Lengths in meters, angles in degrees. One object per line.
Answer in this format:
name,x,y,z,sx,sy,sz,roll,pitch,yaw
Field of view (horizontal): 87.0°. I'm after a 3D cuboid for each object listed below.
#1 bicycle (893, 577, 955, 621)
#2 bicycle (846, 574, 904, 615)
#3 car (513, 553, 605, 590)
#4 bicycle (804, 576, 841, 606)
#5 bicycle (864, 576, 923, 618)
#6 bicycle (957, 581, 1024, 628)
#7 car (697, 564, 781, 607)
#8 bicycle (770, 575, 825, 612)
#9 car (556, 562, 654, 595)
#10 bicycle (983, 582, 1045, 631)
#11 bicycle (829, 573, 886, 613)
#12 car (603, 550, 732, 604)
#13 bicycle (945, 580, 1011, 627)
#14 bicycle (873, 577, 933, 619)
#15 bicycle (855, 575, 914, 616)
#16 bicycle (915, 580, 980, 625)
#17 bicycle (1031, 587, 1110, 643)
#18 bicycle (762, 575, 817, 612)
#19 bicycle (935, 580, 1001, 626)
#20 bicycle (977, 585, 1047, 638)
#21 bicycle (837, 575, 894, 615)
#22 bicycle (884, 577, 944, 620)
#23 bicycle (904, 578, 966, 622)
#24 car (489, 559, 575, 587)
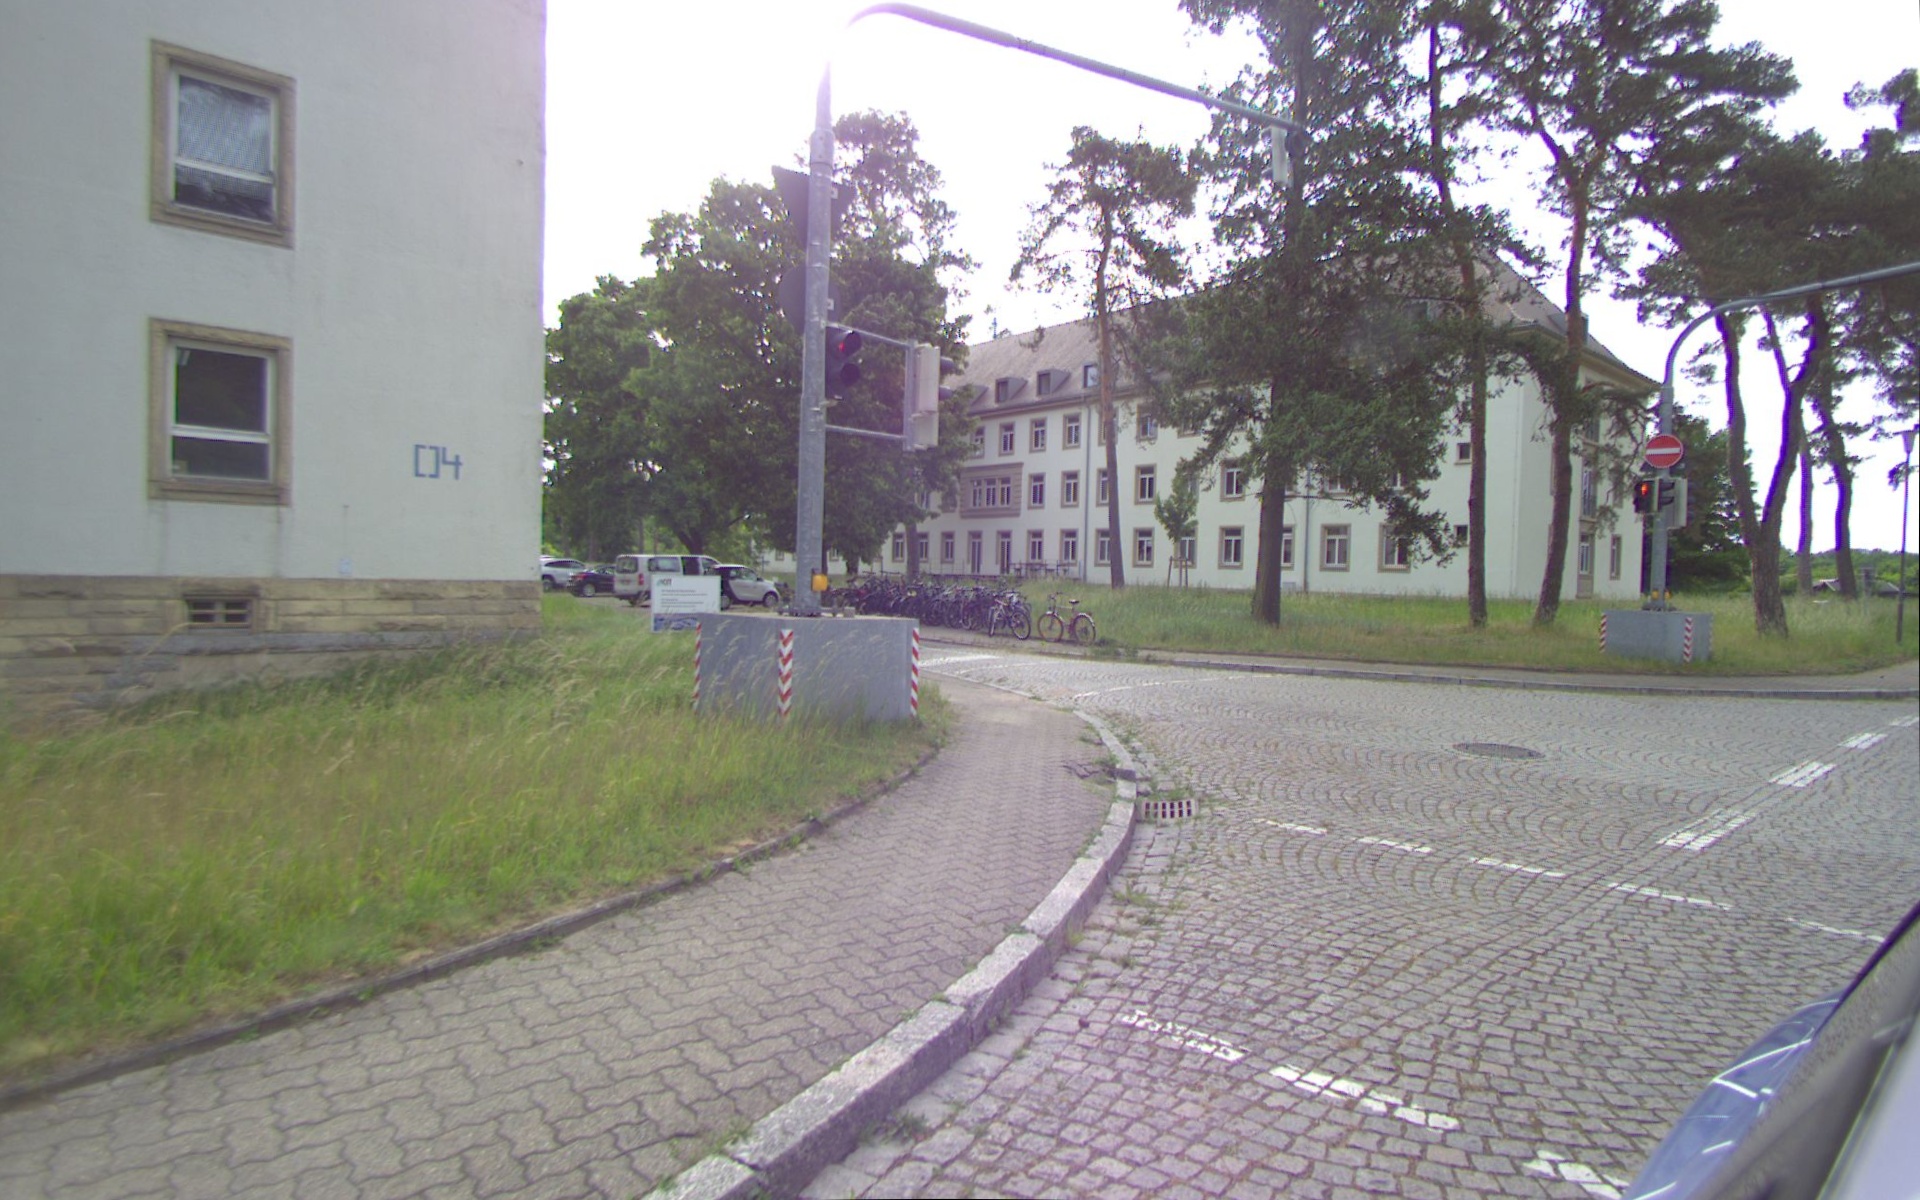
bicycle,-0.964,-0.028,27.405,1.699,1.141,0.448,0,1,-38
bicycle,-2.455,-0.157,29.355,1.699,1.141,0.448,0,1,-38
car,-19.426,-1.371,49.142,1.674,1.681,3.837,2,2,44
bicycle,-5.322,-0.358,39.267,0.475,1.141,1.580,2,2,34
bicycle,-1.873,-0.085,28.612,1.699,1.141,0.448,0,1,-38
bicycle,0.759,0.114,25.168,1.669,1.141,0.477,0,1,-32
car,-7.871,-0.525,36.098,2.615,1.488,1.344,0,2,-41
bicycle,-5.088,-0.201,31.786,1.699,1.141,0.448,0,1,-38
car,-15.786,-0.938,45.074,1.809,1.379,3.716,2,2,44
bicycle,1.330,0.150,24.840,1.628,1.141,0.476,0,2,-42
bicycle,-3.044,-0.202,30.086,1.699,1.141,0.448,0,1,-38
car,-10.876,-0.866,37.930,2.000,1.902,4.328,2,2,36
bicycle,0.461,0.084,25.563,1.668,1.141,0.448,0,1,-32
bicycle,-1.591,-0.055,28.213,1.699,1.141,0.448,0,1,-38
bicycle,-2.155,-0.128,29.002,1.699,1.141,0.448,0,1,-38
bicycle,-0.314,0.057,26.511,1.697,1.141,0.448,0,1,-32
bicycle,2.310,0.296,21.370,0.604,1.099,1.653,0,2,-43
bicycle,-5.415,-0.203,32.202,1.699,1.141,0.448,0,1,-38
bicycle,0.205,0.081,25.971,1.697,1.141,0.448,0,1,-32
bicycle,1.140,0.236,22.604,0.603,1.099,1.656,0,2,-38
bicycle,-2.768,-0.159,29.747,1.699,1.141,0.448,0,1,-38
bicycle,-1.250,-0.053,27.794,1.699,1.141,0.448,0,1,-38
bicycle,-0.655,0.002,26.999,1.699,1.141,0.448,0,1,-37
car,-21.710,-1.361,51.372,1.674,1.371,3.687,2,2,44
